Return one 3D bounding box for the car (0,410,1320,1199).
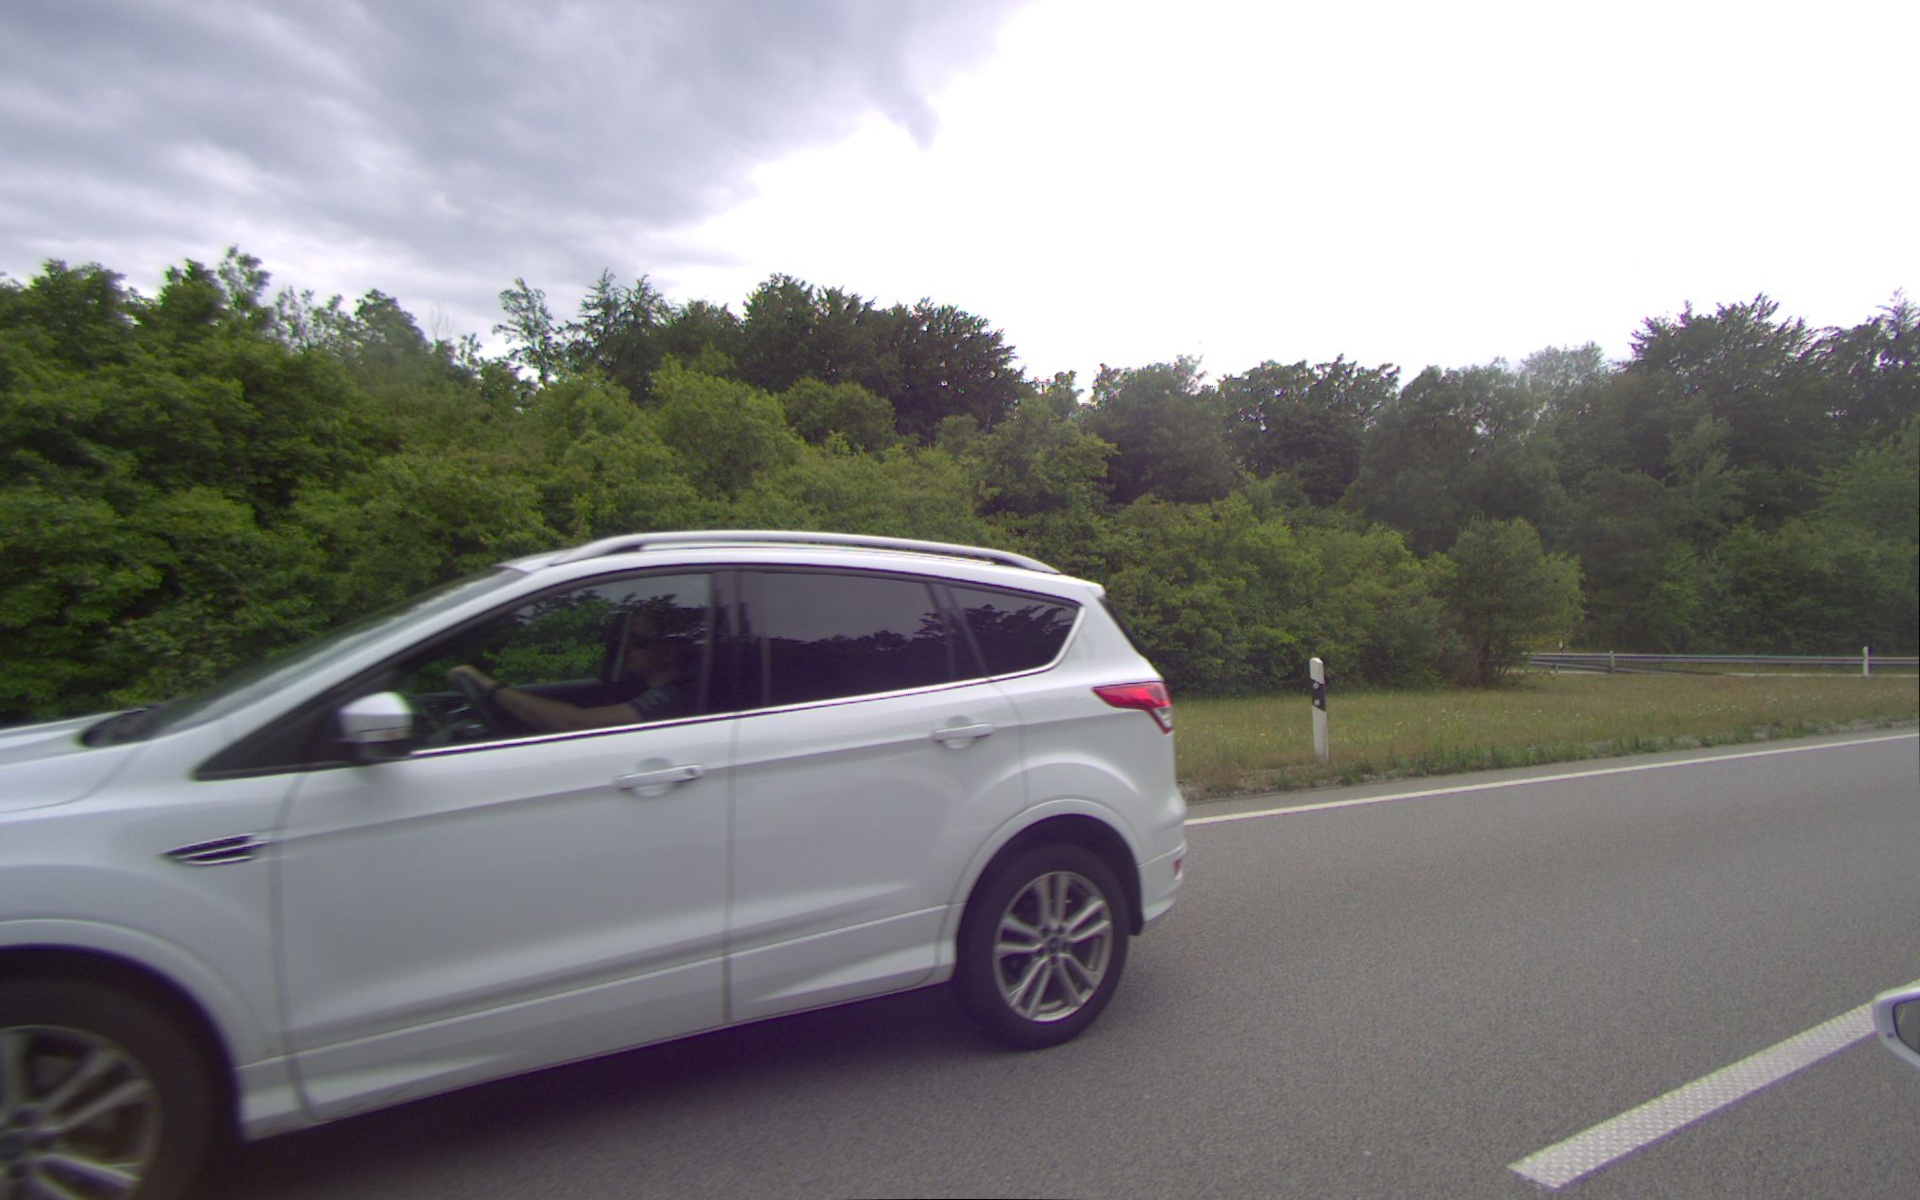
[{"bbox_3d":[-1.045,0.567,3.523,4.560,1.804,1.903,1,0,-31],"label":"car"}]
